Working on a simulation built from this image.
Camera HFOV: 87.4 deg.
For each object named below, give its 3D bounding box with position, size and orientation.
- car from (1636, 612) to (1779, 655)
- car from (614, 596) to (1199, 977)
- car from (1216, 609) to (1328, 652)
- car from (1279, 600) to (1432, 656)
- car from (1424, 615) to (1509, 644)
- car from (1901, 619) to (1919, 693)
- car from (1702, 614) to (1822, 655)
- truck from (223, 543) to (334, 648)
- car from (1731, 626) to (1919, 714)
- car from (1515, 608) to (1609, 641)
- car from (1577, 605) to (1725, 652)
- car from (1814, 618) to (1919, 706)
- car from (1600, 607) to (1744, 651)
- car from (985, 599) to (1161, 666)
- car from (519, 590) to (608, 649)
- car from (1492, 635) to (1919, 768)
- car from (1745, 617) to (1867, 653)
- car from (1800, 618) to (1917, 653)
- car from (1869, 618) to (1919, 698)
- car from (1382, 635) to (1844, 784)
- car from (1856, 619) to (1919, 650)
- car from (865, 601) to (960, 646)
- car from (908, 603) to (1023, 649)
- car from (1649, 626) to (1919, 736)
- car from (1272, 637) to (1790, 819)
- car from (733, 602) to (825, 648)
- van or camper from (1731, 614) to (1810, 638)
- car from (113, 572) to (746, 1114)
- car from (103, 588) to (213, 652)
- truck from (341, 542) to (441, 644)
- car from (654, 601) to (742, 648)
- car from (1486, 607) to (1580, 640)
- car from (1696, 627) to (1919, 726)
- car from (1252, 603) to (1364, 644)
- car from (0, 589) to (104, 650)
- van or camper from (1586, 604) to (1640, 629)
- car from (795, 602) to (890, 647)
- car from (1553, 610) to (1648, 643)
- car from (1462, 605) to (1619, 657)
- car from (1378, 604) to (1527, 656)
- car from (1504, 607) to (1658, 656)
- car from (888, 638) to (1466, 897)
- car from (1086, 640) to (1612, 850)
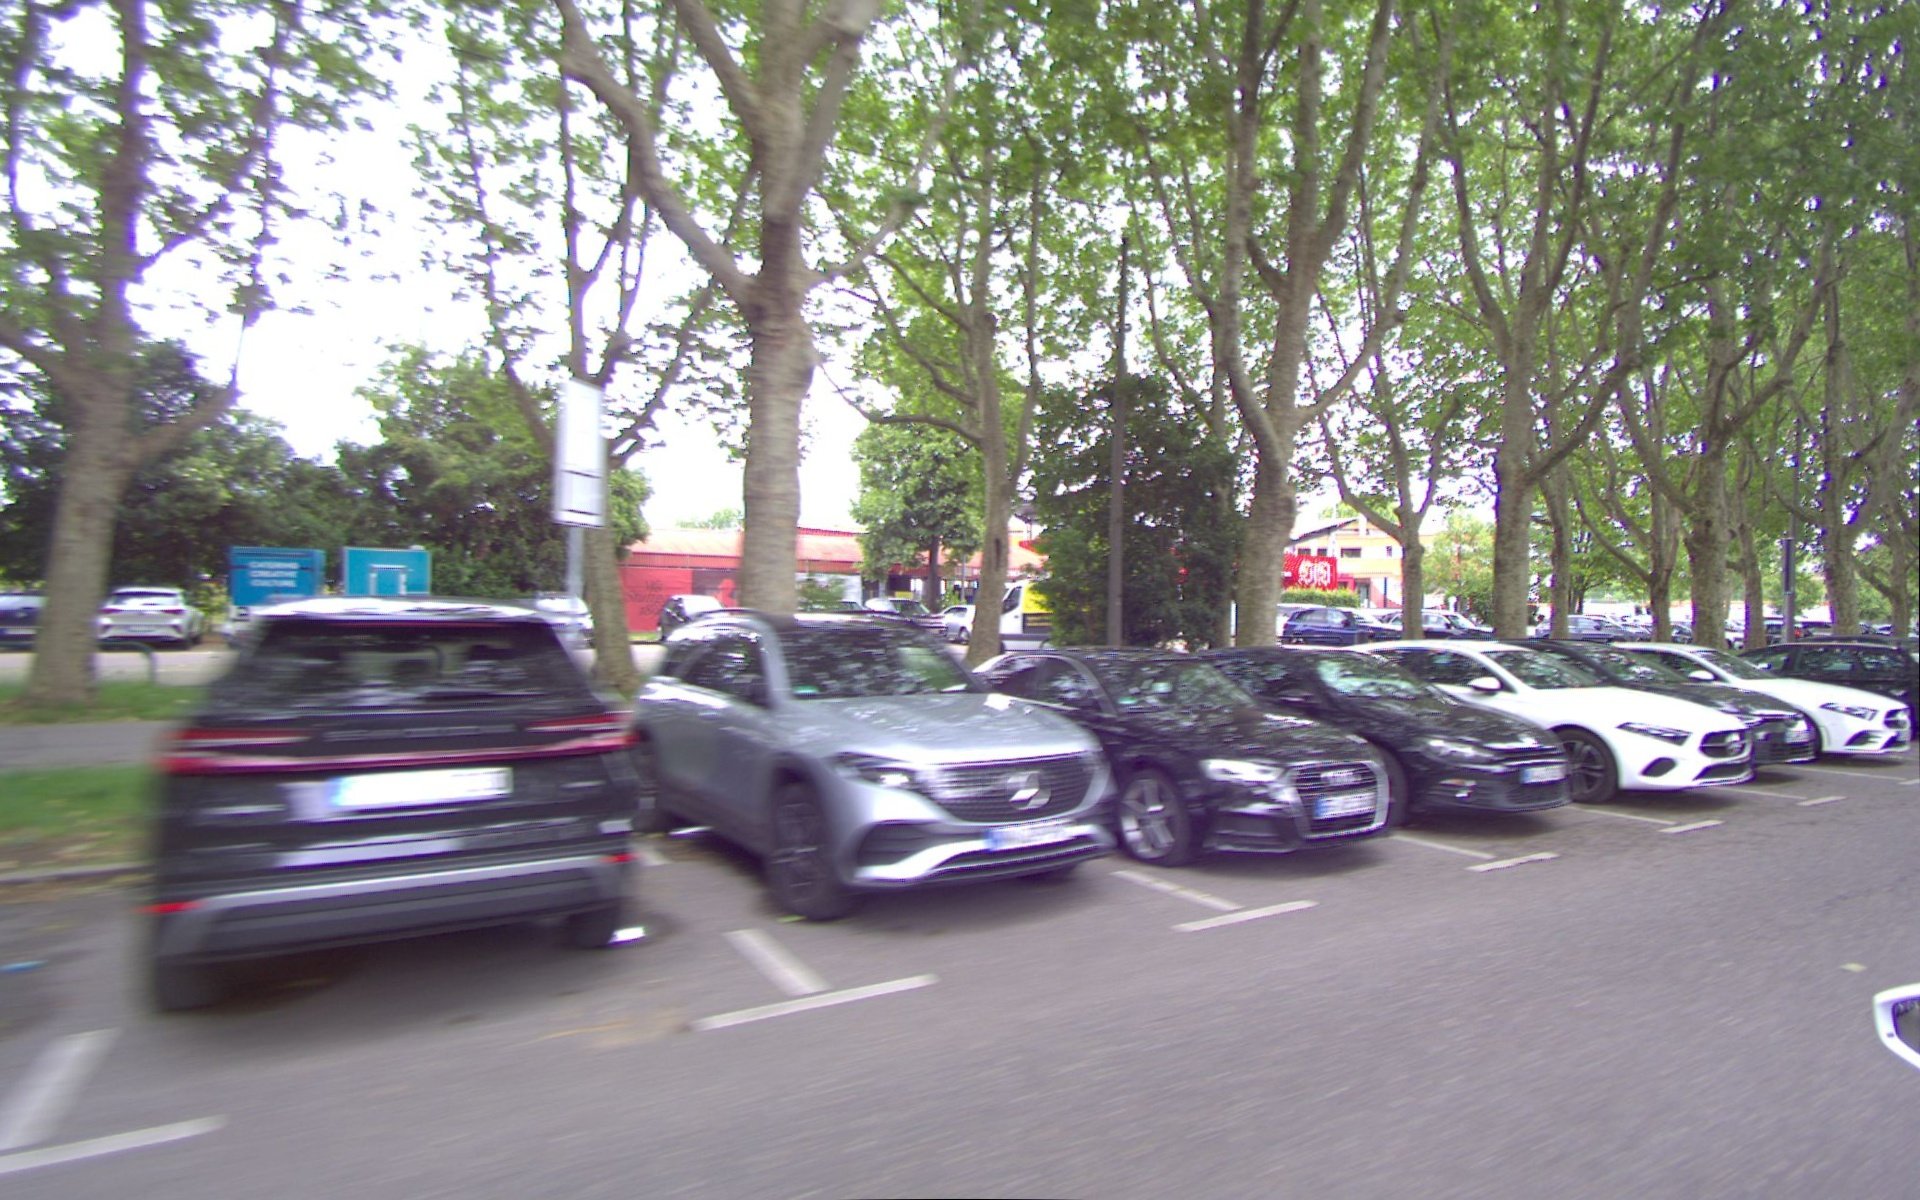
[{"bbox_3d":[34.738,1.529,46.808,2.159,1.821,4.913,1,0,-32],"label":"car"},{"bbox_3d":[-0.727,0.881,6.770,2.026,1.647,4.382,1,-2,-33],"label":"car"},{"bbox_3d":[14.859,1.442,48.114,2.160,1.821,4.913,2,0,-32],"label":"car"},{"bbox_3d":[13.229,0.960,33.871,1.978,1.743,4.528,1,-2,-32],"label":"car"},{"bbox_3d":[27.853,1.612,55.334,1.490,1.390,3.965,2,0,-32],"label":"car"},{"bbox_3d":[24.096,1.362,22.540,1.833,1.704,3.969,2,0,-29],"label":"car"},{"bbox_3d":[40.668,1.744,51.033,2.005,1.885,4.298,2,0,-31],"label":"car"},{"bbox_3d":[-18.575,-0.109,27.563,2.097,2.643,3.969,2,0,-29],"label":"truck"},{"bbox_3d":[17.622,1.322,19.373,1.833,1.472,3.969,2,0,-29],"label":"car"},{"bbox_3d":[37.857,1.513,63.313,2.266,1.880,4.564,2,0,-25],"label":"car"},{"bbox_3d":[30.230,1.221,44.101,2.160,1.821,4.913,2,0,-32],"label":"car"},{"bbox_3d":[19.938,1.281,20.082,1.833,1.704,3.969,2,0,-29],"label":"car"},{"bbox_3d":[32.239,1.289,45.632,2.160,1.821,4.913,2,0,-32],"label":"car"},{"bbox_3d":[3.024,0.857,28.206,2.071,1.617,5.320,2,0,-31],"label":"car"},{"bbox_3d":[-12.251,0.565,30.907,1.967,1.684,3.968,2,0,-30],"label":"car"},{"bbox_3d":[9.885,1.208,13.558,2.024,1.463,4.385,1,-2,-31],"label":"car"},{"bbox_3d":[45.141,1.849,53.686,2.270,1.748,4.528,2,0,-31],"label":"car"},{"bbox_3d":[51.057,1.997,57.181,2.270,1.785,4.495,2,0,-31],"label":"car"},{"bbox_3d":[22.081,1.294,21.160,1.833,1.704,3.969,2,0,-29],"label":"car"},{"bbox_3d":[7.555,1.147,12.154,1.762,1.436,4.388,1,-2,-29],"label":"car"},{"bbox_3d":[57.495,2.126,60.867,2.108,1.732,4.298,2,0,-31],"label":"car"},{"bbox_3d":[-1.822,0.826,37.261,1.915,1.530,3.968,1,0,-30],"label":"car"},{"bbox_3d":[0.116,0.965,38.717,2.159,1.541,4.915,2,0,-31],"label":"car"},{"bbox_3d":[13.874,1.239,16.353,1.833,1.472,3.969,2,0,-29],"label":"car"},{"bbox_3d":[5.565,1.115,10.432,1.756,1.443,4.385,1,-2,-31],"label":"car"},{"bbox_3d":[-6.295,0.831,34.638,1.878,1.415,3.968,1,1,-30],"label":"car"},{"bbox_3d":[63.156,2.026,78.333,2.108,1.732,4.298,2,0,-31],"label":"van or camper"},{"bbox_3d":[-2.930,0.812,5.470,2.026,1.647,4.382,1,-2,-33],"label":"car"},{"bbox_3d":[-20.703,0.476,26.086,1.714,1.527,3.965,2,0,-32],"label":"car"},{"bbox_3d":[-16.744,-0.182,29.496,2.350,2.753,3.966,2,0,-31],"label":"truck"},{"bbox_3d":[-8.799,0.771,33.579,1.878,1.415,3.968,1,0,-30],"label":"car"},{"bbox_3d":[35.419,1.433,62.196,2.266,1.880,4.564,2,0,-25],"label":"car"},{"bbox_3d":[15.682,1.300,17.693,1.833,1.472,3.969,2,0,-29],"label":"car"},{"bbox_3d":[17.041,1.108,49.363,2.160,1.821,4.913,2,0,-32],"label":"car"},{"bbox_3d":[-22.865,0.450,25.148,1.712,1.395,3.977,2,0,-34],"label":"car"},{"bbox_3d":[58.152,1.482,89.375,5.244,2.040,1.983,2,0,-32],"label":"van or camper"},{"bbox_3d":[-4.253,0.835,35.916,1.968,1.468,3.968,1,0,-30],"label":"car"},{"bbox_3d":[40.533,1.674,63.633,2.266,1.880,4.564,2,0,-25],"label":"car"},{"bbox_3d":[22.674,1.171,39.436,2.160,1.821,4.913,2,0,-32],"label":"car"},{"bbox_3d":[17.883,1.111,36.661,1.978,1.743,4.528,1,-2,-32],"label":"car"},{"bbox_3d":[25.076,1.222,40.745,2.159,1.821,4.913,1,0,-32],"label":"car"},{"bbox_3d":[1.369,1.032,8.038,2.026,1.413,4.382,1,-2,-33],"label":"car"},{"bbox_3d":[3.223,1.093,9.269,1.706,1.413,4.383,1,-2,-32],"label":"car"}]
